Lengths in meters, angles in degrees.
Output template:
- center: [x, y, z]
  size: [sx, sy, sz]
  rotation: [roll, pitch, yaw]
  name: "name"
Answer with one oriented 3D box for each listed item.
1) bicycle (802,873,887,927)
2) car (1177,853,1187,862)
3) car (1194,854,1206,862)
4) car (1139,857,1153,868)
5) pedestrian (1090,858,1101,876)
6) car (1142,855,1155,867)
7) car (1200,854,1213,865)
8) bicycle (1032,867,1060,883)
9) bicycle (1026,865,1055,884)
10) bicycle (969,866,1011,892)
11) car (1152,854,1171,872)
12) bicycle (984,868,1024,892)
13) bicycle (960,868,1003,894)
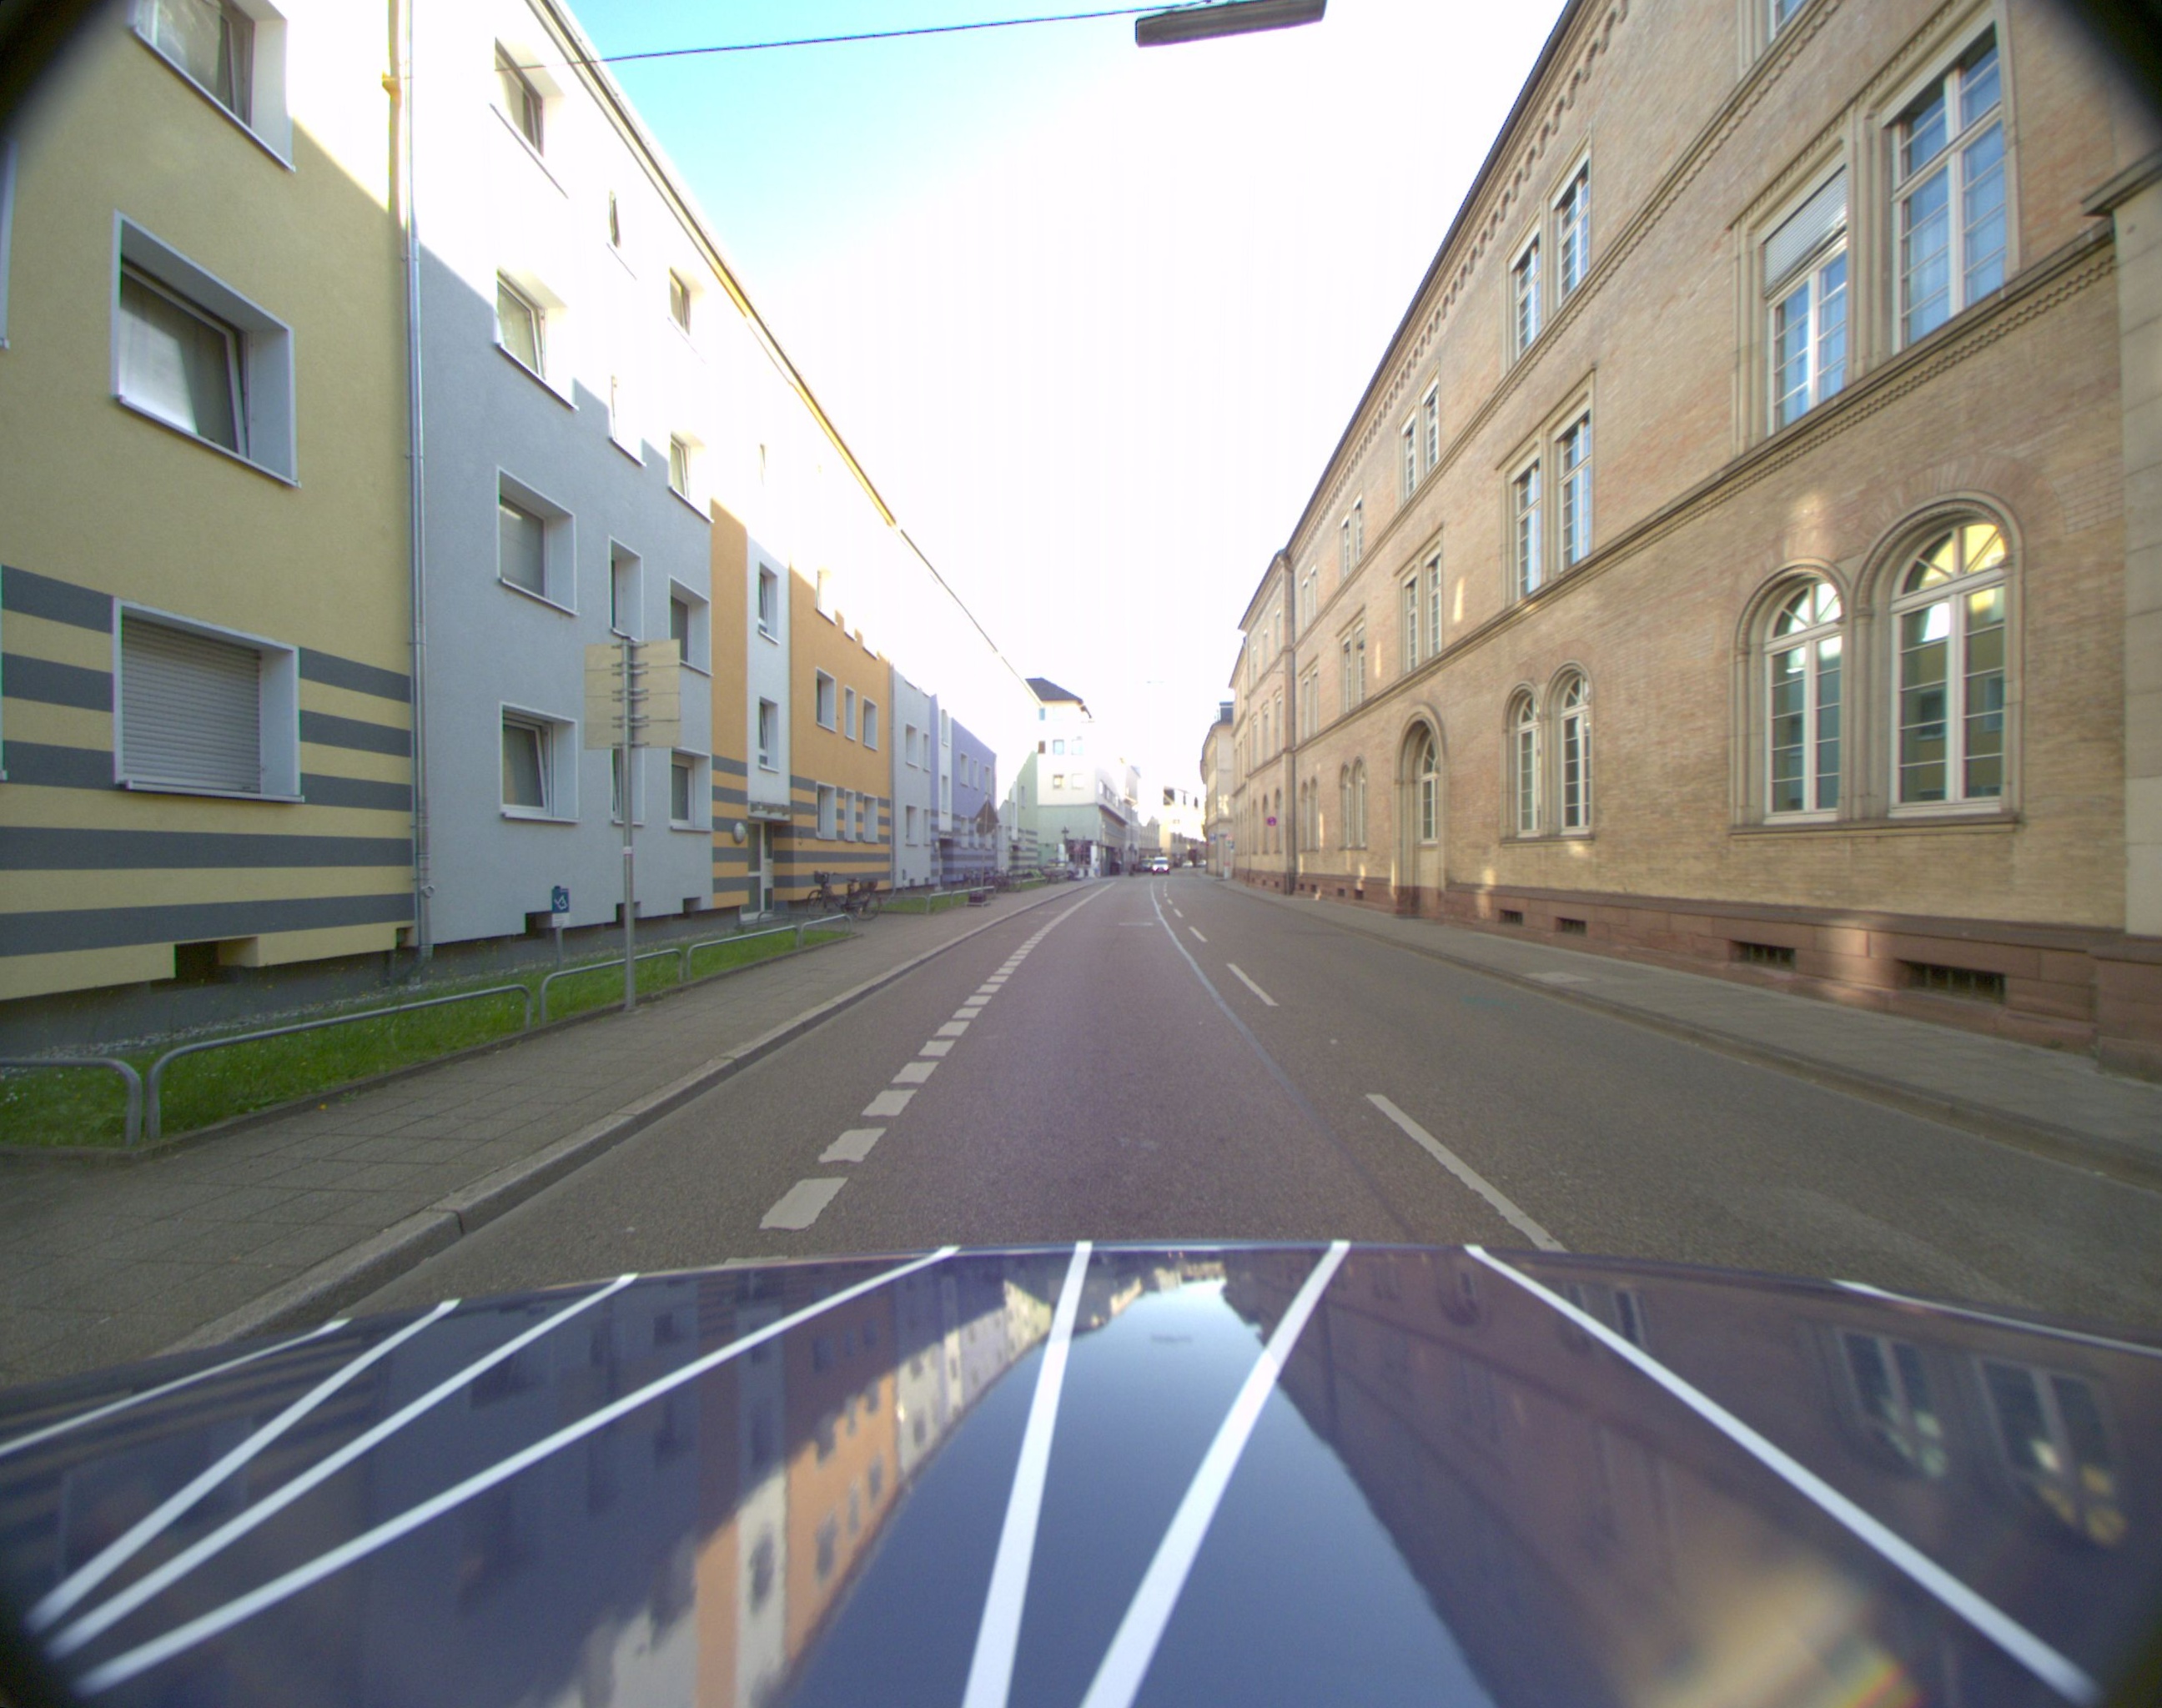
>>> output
- center: [-5.300, 1.025, 17.073]
  size: [1.711, 1.152, 0.636]
  rotation: [1, 0, -2]
  name: "bicycle"
- center: [19.898, 0.630, 149.627]
  size: [1.534, 1.714, 3.743]
  rotation: [0, 0, 16]
  name: "car"
- center: [25.643, 0.822, 163.633]
  size: [1.925, 1.714, 4.236]
  rotation: [0, 0, 19]
  name: "car"
- center: [8.620, 1.117, 100.741]
  size: [1.634, 1.405, 3.687]
  rotation: [0, 0, 8]
  name: "car"
- center: [1.167, 1.056, 62.133]
  size: [0.707, 1.510, 0.662]
  rotation: [0, 0, 15]
  name: "pedestrian"
- center: [9.445, 0.945, 106.016]
  size: [1.535, 1.714, 3.741]
  rotation: [0, 0, 8]
  name: "car"
- center: [19.919, 0.814, 120.267]
  size: [1.662, 1.714, 3.743]
  rotation: [0, 0, 14]
  name: "car"
- center: [-2.186, 1.305, 47.549]
  size: [1.711, 0.972, 0.516]
  rotation: [1, 0, -2]
  name: "bicycle"
- center: [-2.434, 1.221, 46.089]
  size: [1.711, 1.097, 0.584]
  rotation: [1, 0, -2]
  name: "bicycle"
- center: [-3.960, 1.093, 33.036]
  size: [1.710, 1.075, 0.636]
  rotation: [1, 0, 1]
  name: "bicycle"
- center: [8.468, 0.913, 79.326]
  size: [1.922, 1.712, 4.963]
  rotation: [0, 0, 7]
  name: "car"
- center: [-3.402, 1.157, 33.730]
  size: [1.711, 1.029, 0.636]
  rotation: [1, 0, -2]
  name: "bicycle"
- center: [-4.163, 1.131, 31.826]
  size: [1.710, 1.039, 0.636]
  rotation: [1, 0, 2]
  name: "bicycle"
